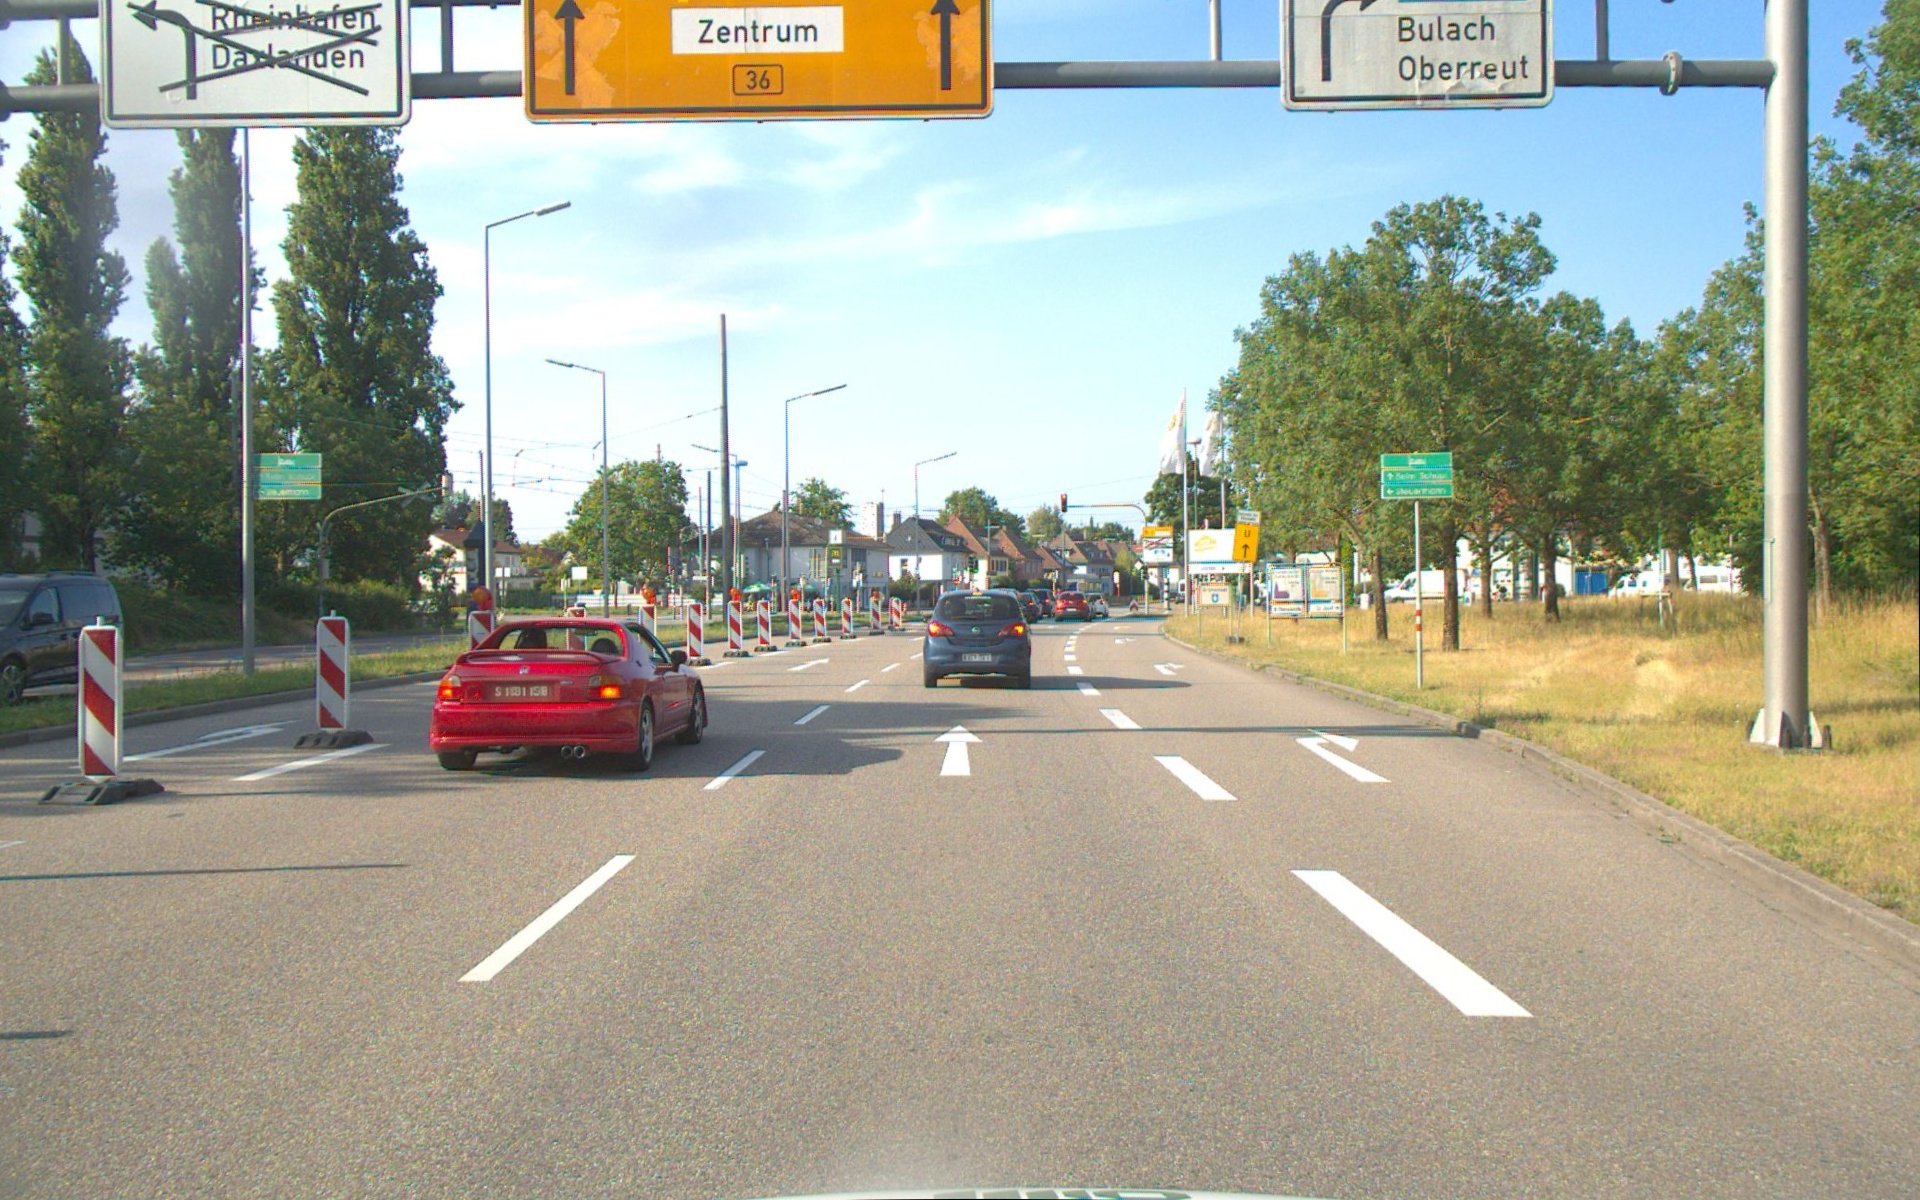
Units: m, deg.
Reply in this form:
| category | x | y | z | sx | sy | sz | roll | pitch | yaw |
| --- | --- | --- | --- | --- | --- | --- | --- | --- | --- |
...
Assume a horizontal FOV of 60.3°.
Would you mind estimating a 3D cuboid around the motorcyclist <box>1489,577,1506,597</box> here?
| category | x | y | z | sx | sy | sz | roll | pitch | yaw |
| --- | --- | --- | --- | --- | --- | --- | --- | --- | --- |
| motorcyclist | 38.390 | -0.942 | 118.134 | 1.043 | 1.375 | 0.680 | -1 | 0 | 9 |

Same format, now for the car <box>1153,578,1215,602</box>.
| category | x | y | z | sx | sy | sz | roll | pitch | yaw |
| --- | --- | --- | --- | --- | --- | --- | --- | --- | --- |
| car | 14.782 | -0.655 | 109.091 | 3.902 | 1.512 | 2.002 | -1 | 0 | 12 |

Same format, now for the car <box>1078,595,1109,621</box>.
| category | x | y | z | sx | sy | sz | roll | pitch | yaw |
| --- | --- | --- | --- | --- | --- | --- | --- | --- | --- |
| car | 7.934 | 0.462 | 98.061 | 1.621 | 1.468 | 4.017 | -1 | 0 | 8 |

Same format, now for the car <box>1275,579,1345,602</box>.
| category | x | y | z | sx | sy | sz | roll | pitch | yaw |
| --- | --- | --- | --- | --- | --- | --- | --- | --- | --- |
| car | 25.628 | -0.669 | 121.202 | 4.986 | 1.590 | 1.841 | -1 | 0 | 11 |

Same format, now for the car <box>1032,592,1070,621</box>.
| category | x | y | z | sx | sy | sz | roll | pitch | yaw |
| --- | --- | --- | --- | --- | --- | --- | --- | --- | --- |
| car | 5.444 | 0.364 | 98.621 | 1.474 | 1.680 | 4.748 | -1 | 0 | 12 |

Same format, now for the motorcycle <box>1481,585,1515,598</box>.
| category | x | y | z | sx | sy | sz | roll | pitch | yaw |
| --- | --- | --- | --- | --- | --- | --- | --- | --- | --- |
| motorcycle | 38.399 | -0.588 | 118.132 | 2.222 | 0.882 | 0.691 | -1 | 0 | 9 |

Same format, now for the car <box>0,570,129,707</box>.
| category | x | y | z | sx | sy | sz | roll | pitch | yaw |
| --- | --- | --- | --- | --- | --- | --- | --- | --- | --- |
| car | -13.704 | 0.514 | 23.422 | 1.748 | 1.838 | 4.124 | -1 | 1 | 0 |

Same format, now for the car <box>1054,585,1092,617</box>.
| category | x | y | z | sx | sy | sz | roll | pitch | yaw |
| --- | --- | --- | --- | --- | --- | --- | --- | --- | --- |
| car | 5.829 | 0.044 | 84.804 | 1.670 | 1.579 | 3.981 | -1 | 0 | 7 |

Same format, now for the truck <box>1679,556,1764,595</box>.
| category | x | y | z | sx | sy | sz | roll | pitch | yaw |
| --- | --- | --- | --- | --- | --- | --- | --- | --- | --- |
| truck | 60.375 | -1.909 | 131.202 | 1.875 | 2.904 | 6.002 | -1 | 0 | -36 |

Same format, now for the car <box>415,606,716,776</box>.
| category | x | y | z | sx | sy | sz | roll | pitch | yaw |
| --- | --- | --- | --- | --- | --- | --- | --- | --- | --- |
| car | -3.310 | 0.704 | 14.614 | 1.695 | 1.227 | 3.847 | 1 | 1 | 0 |

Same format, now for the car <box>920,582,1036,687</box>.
| category | x | y | z | sx | sy | sz | roll | pitch | yaw |
| --- | --- | --- | --- | --- | --- | --- | --- | --- | --- |
| car | 0.316 | 0.493 | 26.689 | 1.705 | 1.532 | 4.223 | -1 | 1 | 1 |

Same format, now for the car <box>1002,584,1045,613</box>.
| category | x | y | z | sx | sy | sz | roll | pitch | yaw |
| --- | --- | --- | --- | --- | --- | --- | --- | --- | --- |
| car | 3.437 | -0.083 | 89.376 | 1.663 | 1.534 | 4.558 | 0 | 0 | 11 |

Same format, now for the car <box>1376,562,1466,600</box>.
| category | x | y | z | sx | sy | sz | roll | pitch | yaw |
| --- | --- | --- | --- | --- | --- | --- | --- | --- | --- |
| car | 33.322 | -1.341 | 119.709 | 6.075 | 2.629 | 2.002 | -1 | 0 | 10 |

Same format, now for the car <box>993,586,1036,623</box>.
| category | x | y | z | sx | sy | sz | roll | pitch | yaw |
| --- | --- | --- | --- | --- | --- | --- | --- | --- | --- |
| car | 2.633 | 0.187 | 79.140 | 1.726 | 1.700 | 4.087 | 0 | 0 | 7 |
